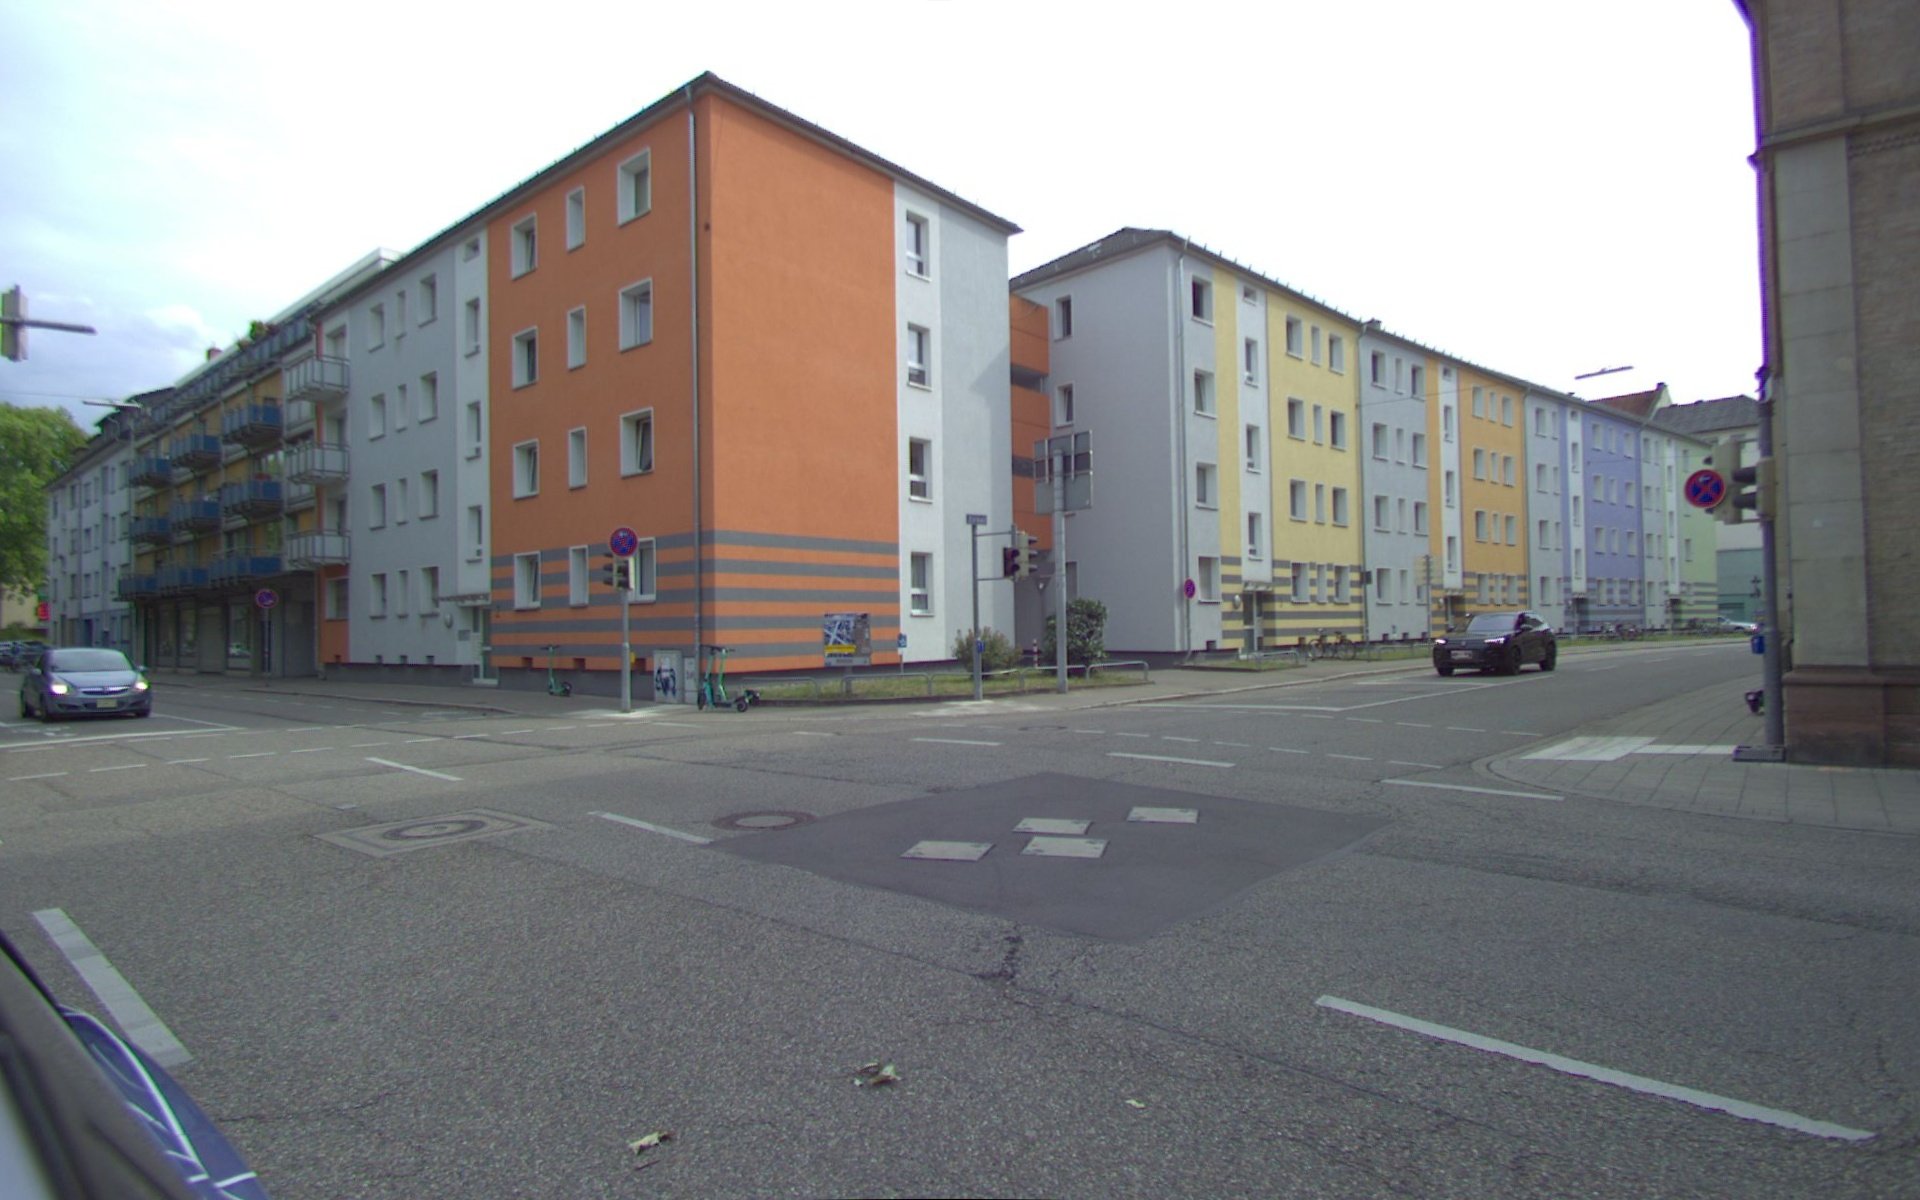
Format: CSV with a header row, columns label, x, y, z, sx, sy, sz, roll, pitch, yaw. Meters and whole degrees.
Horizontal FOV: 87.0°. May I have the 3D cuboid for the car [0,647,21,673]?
label,x,y,z,sx,sy,sz,roll,pitch,yaw
car,-80.046,5.022,83.151,1.998,2.029,3.947,-3,-1,40

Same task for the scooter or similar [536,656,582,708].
label,x,y,z,sx,sy,sz,roll,pitch,yaw
scooter or similar,-9.228,1.865,23.266,1.353,1.133,0.364,-3,-1,41

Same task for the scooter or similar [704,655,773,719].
label,x,y,z,sx,sy,sz,roll,pitch,yaw
scooter or similar,-4.217,1.659,19.219,1.347,1.166,0.327,-3,-1,28

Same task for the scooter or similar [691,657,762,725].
label,x,y,z,sx,sy,sz,roll,pitch,yaw
scooter or similar,-4.288,1.658,18.523,1.336,1.188,0.327,-3,-1,28

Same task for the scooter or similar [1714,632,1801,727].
label,x,y,z,sx,sy,sz,roll,pitch,yaw
scooter or similar,10.762,1.020,13.625,2.340,1.174,0.561,2,-3,-44

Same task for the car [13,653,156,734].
label,x,y,z,sx,sy,sz,roll,pitch,yaw
car,-17.915,1.843,20.659,3.817,1.450,1.652,-3,-2,40

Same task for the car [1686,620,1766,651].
label,x,y,z,sx,sy,sz,roll,pitch,yaw
car,52.505,2.441,69.414,1.969,2.029,4.005,-2,-1,-42

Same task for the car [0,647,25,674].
label,x,y,z,sx,sy,sz,roll,pitch,yaw
car,-77.900,4.942,81.212,1.998,2.029,3.947,-3,-1,40

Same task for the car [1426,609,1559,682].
label,x,y,z,sx,sy,sz,roll,pitch,yaw
car,13.780,1.130,26.080,3.941,1.612,1.900,-2,-1,-45

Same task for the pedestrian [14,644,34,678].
label,x,y,z,sx,sy,sz,roll,pitch,yaw
pedestrian,-57.380,3.743,62.051,0.875,2.029,0.831,-3,-1,45

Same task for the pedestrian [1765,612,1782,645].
label,x,y,z,sx,sy,sz,roll,pitch,yaw
pedestrian,51.152,1.782,63.628,0.721,2.029,0.554,-2,-1,-31

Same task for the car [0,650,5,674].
label,x,y,z,sx,sy,sz,roll,pitch,yaw
car,-86.968,5.581,89.069,1.998,2.029,3.947,-3,-1,40

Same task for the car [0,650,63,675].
label,x,y,z,sx,sy,sz,roll,pitch,yaw
car,-73.265,4.914,79.603,1.881,1.701,3.822,-3,-1,40

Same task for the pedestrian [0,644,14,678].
label,x,y,z,sx,sy,sz,roll,pitch,yaw
pedestrian,-57.890,3.680,61.249,0.875,2.029,0.831,-3,-1,45

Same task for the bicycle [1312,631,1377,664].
label,x,y,z,sx,sy,sz,roll,pitch,yaw
bicycle,12.495,1.560,32.939,1.867,1.019,0.554,-3,-1,44

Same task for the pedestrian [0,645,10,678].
label,x,y,z,sx,sy,sz,roll,pitch,yaw
pedestrian,-59.913,3.839,63.143,0.875,2.029,0.831,-3,-1,45
